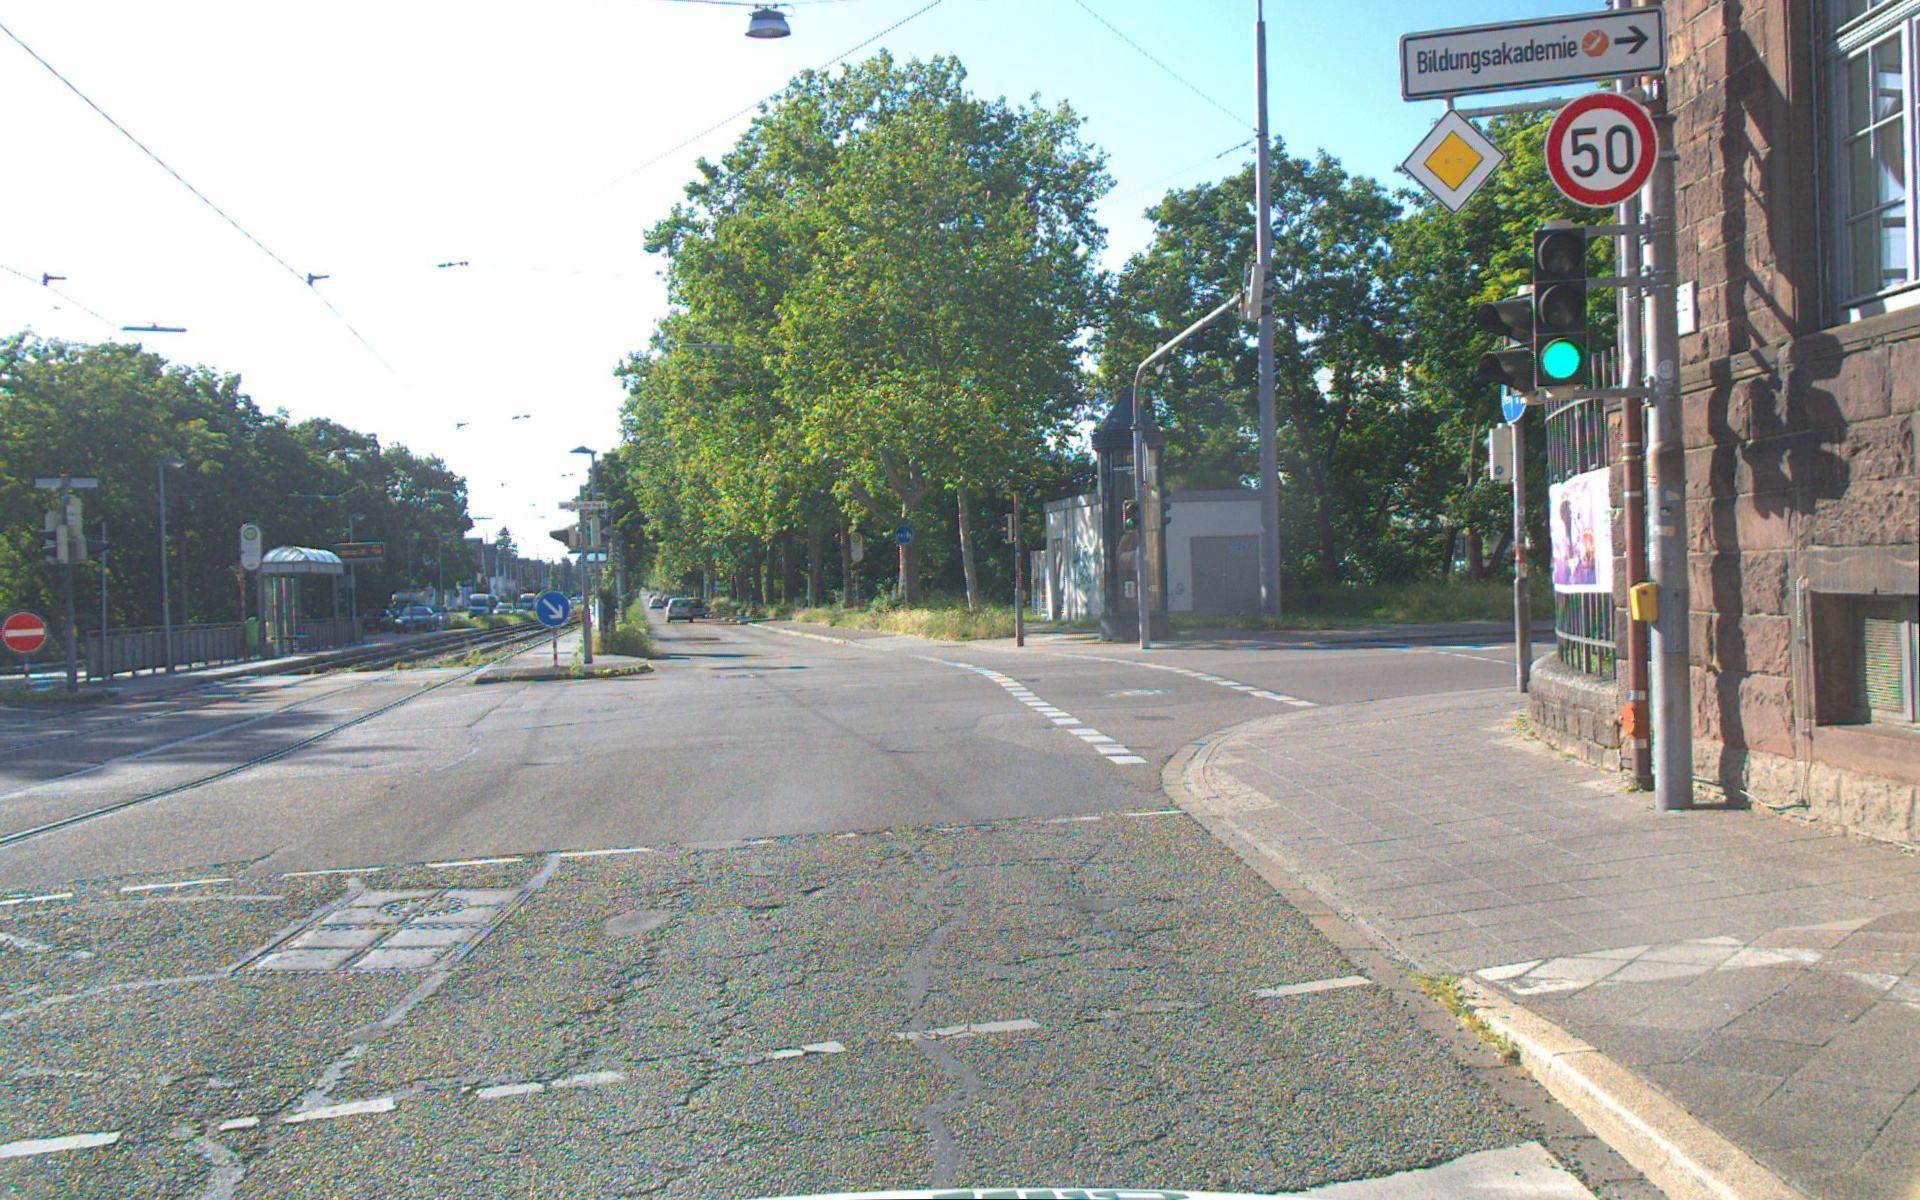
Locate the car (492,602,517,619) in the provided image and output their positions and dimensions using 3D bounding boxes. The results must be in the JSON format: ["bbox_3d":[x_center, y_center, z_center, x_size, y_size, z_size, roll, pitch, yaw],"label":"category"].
[{"bbox_3d":[-41.954,0.957,152.389,1.959,1.495,4.363,-2,0,-12],"label":"car"}]

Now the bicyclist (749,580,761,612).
[{"bbox_3d":[-11.642,-0.251,94.032,0.525,1.800,0.710,-2,0,-13],"label":"bicyclist"}]

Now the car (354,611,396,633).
[{"bbox_3d":[-38.810,1.459,109.848,1.885,1.288,3.991,-2,0,-9],"label":"car"}]

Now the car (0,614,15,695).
[{"bbox_3d":[-21.765,1.212,34.576,1.959,1.798,5.016,-2,0,-12],"label":"car"}]

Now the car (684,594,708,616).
[{"bbox_3d":[-20.100,0.344,125.781,1.719,1.632,3.740,-1,0,-11],"label":"car"}]

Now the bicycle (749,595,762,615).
[{"bbox_3d":[-11.642,0.279,94.044,0.527,1.085,1.429,-2,0,-13],"label":"bicycle"}]

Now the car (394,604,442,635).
[{"bbox_3d":[-30.263,1.053,92.389,1.885,1.594,3.991,-2,0,-9],"label":"car"}]

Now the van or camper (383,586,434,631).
[{"bbox_3d":[-40.733,0.615,122.336,2.544,3.160,6.770,-2,0,-11],"label":"van or camper"}]

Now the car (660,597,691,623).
[{"bbox_3d":[-17.425,0.576,101.183,1.834,1.512,3.546,-1,0,-11],"label":"car"}]

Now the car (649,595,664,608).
[{"bbox_3d":[-40.116,0.164,218.573,1.720,1.632,3.570,-2,1,-12],"label":"car"}]
